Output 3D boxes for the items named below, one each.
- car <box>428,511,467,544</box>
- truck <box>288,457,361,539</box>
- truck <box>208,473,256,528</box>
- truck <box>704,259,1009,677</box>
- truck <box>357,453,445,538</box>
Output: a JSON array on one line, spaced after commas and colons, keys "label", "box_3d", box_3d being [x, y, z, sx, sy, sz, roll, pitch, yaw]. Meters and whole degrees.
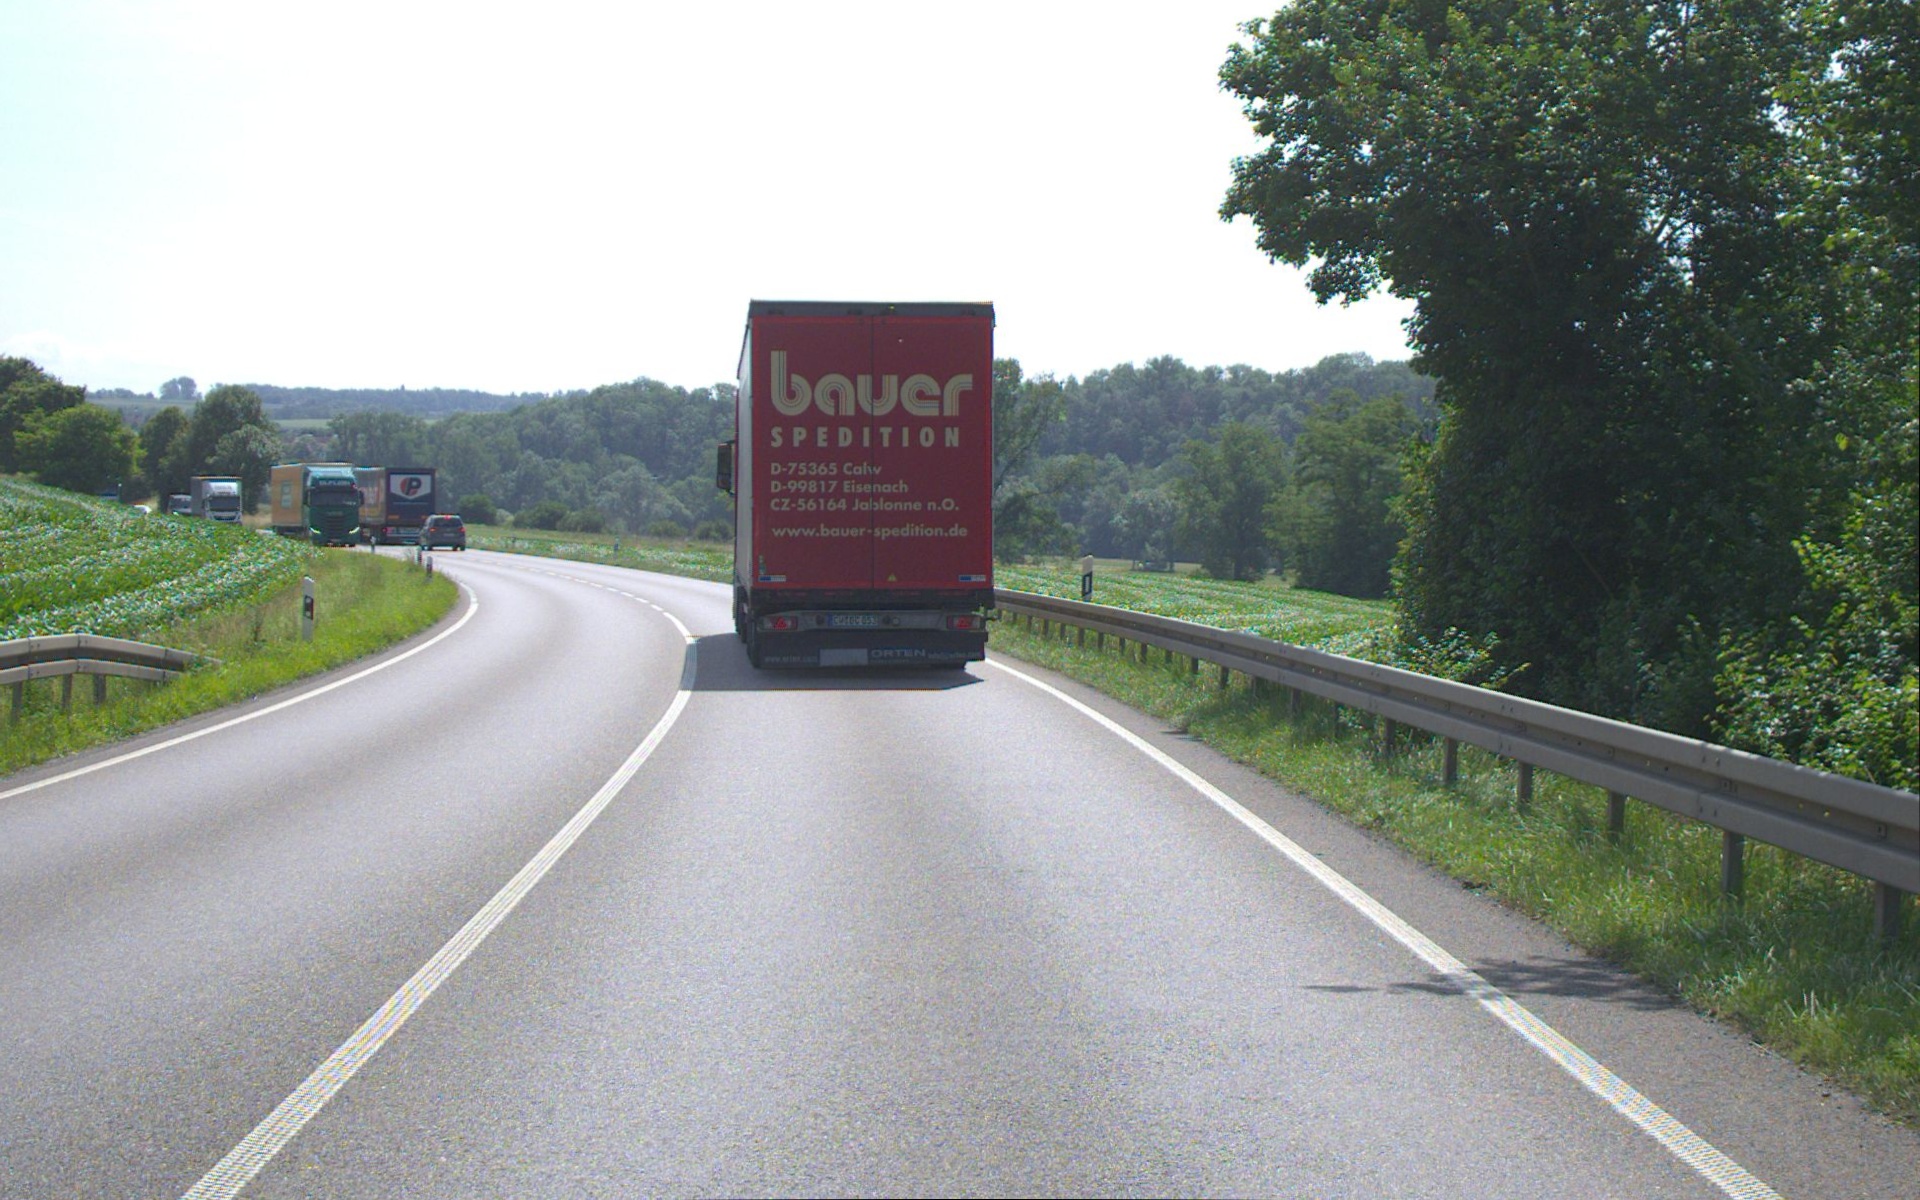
[{"label": "car", "box_3d": [-24.192, -3.415, 162.154, 1.581, 1.496, 3.878, 1, 1, -12]}, {"label": "truck", "box_3d": [-33.039, -5.277, 178.303, 2.770, 3.984, 17.034, 1, 1, -14]}, {"label": "truck", "box_3d": [-48.300, -6.599, 227.923, 2.740, 3.566, 9.730, 1, 1, -14]}, {"label": "truck", "box_3d": [-1.213, -1.421, 39.257, 3.094, 4.248, 8.315, 0, 1, -2]}, {"label": "truck", "box_3d": [-29.620, -5.431, 181.784, 3.639, 4.277, 11.989, 0, 1, -14]}]
